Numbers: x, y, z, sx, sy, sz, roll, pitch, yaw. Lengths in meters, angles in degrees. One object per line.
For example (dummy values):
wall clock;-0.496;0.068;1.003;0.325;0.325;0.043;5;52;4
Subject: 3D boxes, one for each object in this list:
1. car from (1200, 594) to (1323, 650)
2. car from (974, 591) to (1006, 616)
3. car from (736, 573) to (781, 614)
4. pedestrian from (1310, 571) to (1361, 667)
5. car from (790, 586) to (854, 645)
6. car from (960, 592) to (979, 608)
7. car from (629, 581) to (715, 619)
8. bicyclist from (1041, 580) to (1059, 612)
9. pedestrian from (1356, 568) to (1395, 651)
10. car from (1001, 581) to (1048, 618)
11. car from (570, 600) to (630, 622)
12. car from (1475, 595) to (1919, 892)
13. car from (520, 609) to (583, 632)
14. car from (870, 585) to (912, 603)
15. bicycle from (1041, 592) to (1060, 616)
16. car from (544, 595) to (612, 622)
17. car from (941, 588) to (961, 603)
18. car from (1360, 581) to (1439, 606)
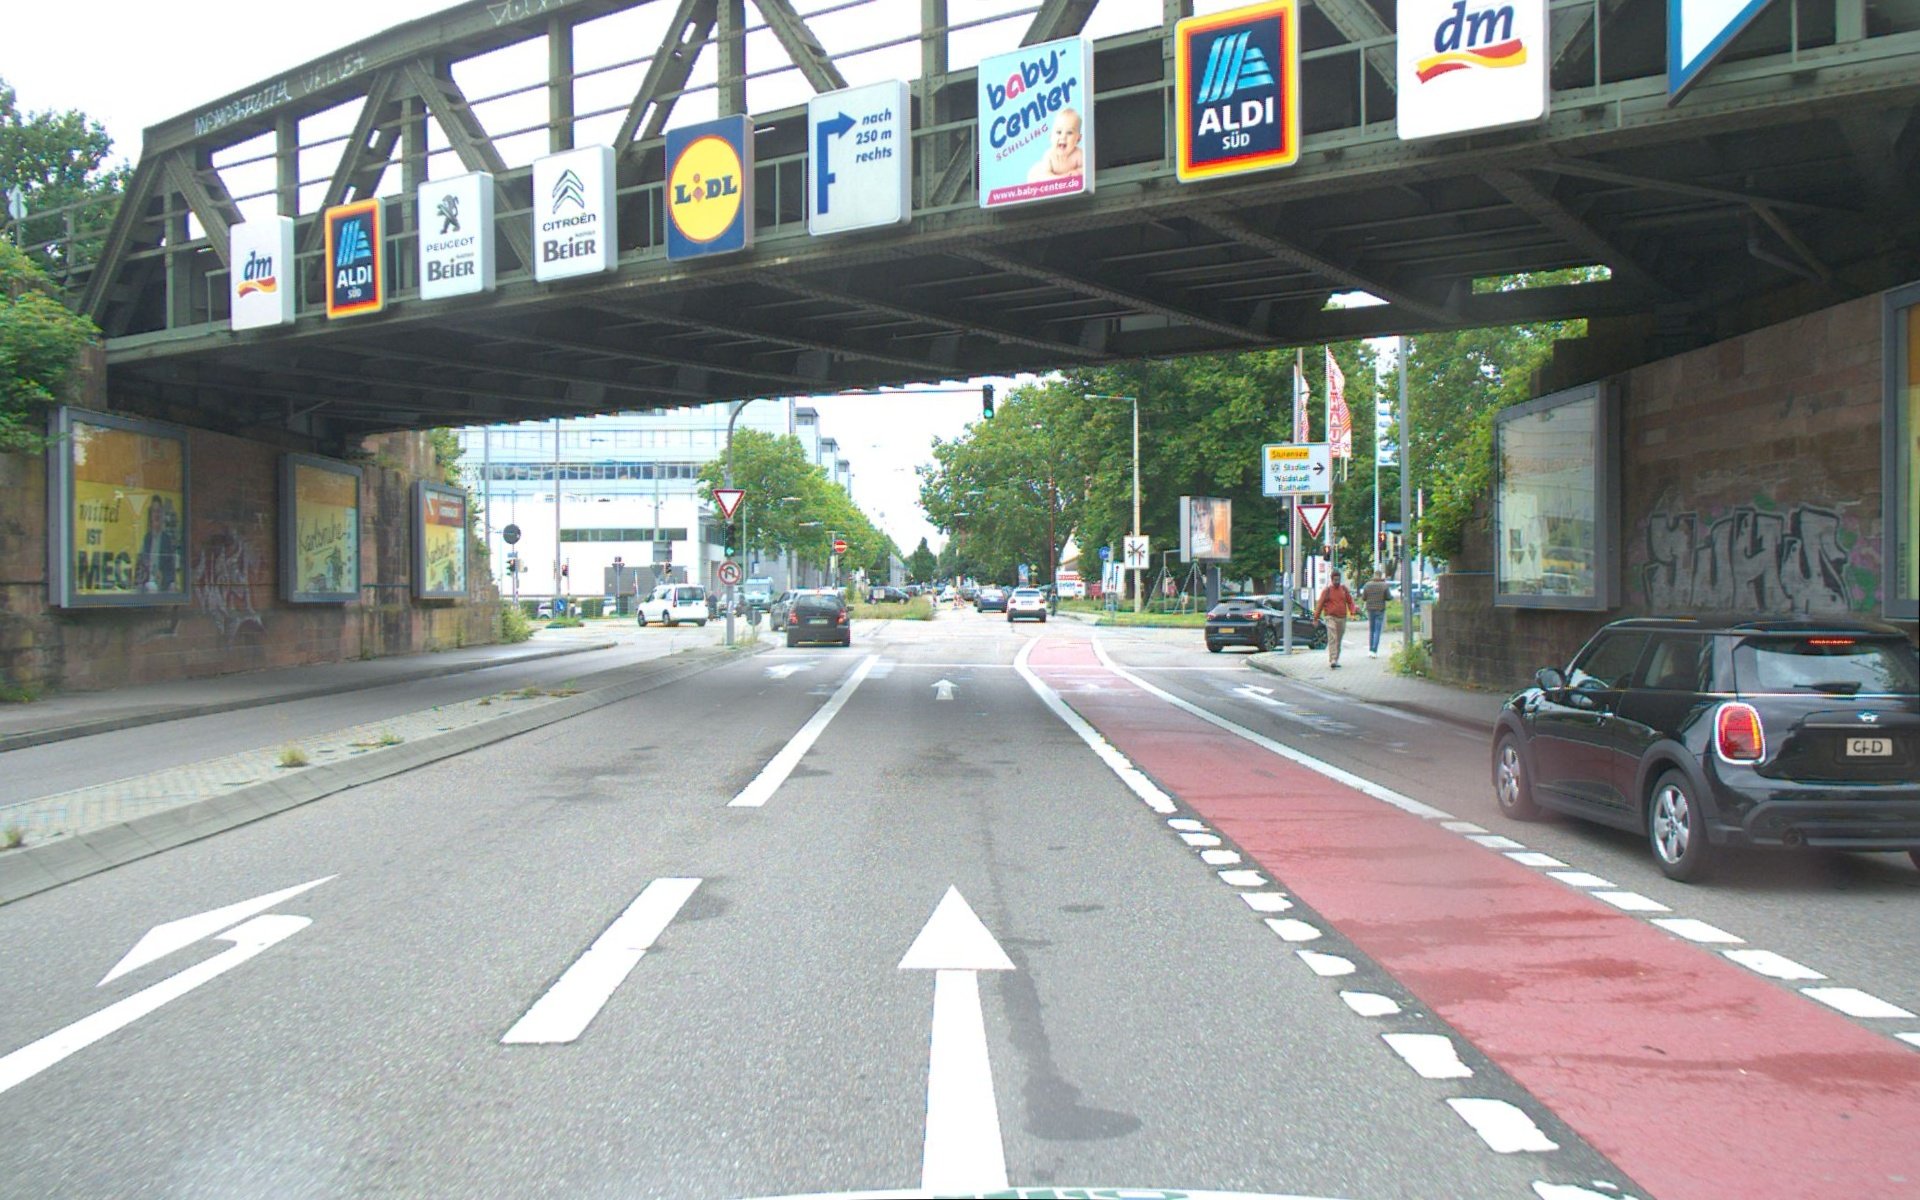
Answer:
car;7.582;0.518;41.474;1.621;1.303;3.403;1;1;39
car;1.877;0.207;103.865;1.651;1.540;3.703;1;1;-4
car;-14.673;-0.470;120.852;2.280;2.875;5.951;-1;0;2
pedestrian;7.171;0.356;31.638;0.853;1.790;0.788;0;0;6
car;-3.881;0.408;46.783;1.734;1.554;3.666;1;1;-4
car;0.981;-0.009;179.641;1.839;1.661;3.998;-1;1;-3
car;-12.735;-0.028;72.862;1.944;1.554;4.953;0;1;-33
bicyclist;4.796;-0.226;88.137;0.800;1.658;1.235;-1;0;-1
pedestrian;8.455;0.190;33.628;0.726;1.668;0.779;0;0;16
car;2.951;-0.049;76.392;1.787;1.628;3.773;1;1;-4
car;-29.115;0.883;133.843;4.437;1.662;1.911;-1;0;-4
car;4.676;0.730;10.305;1.645;1.456;3.773;1;1;-2
car;-29.873;1.504;120.999;4.125;1.559;1.913;-1;0;0
car;-6.273;-0.515;150.634;3.805;1.583;1.825;1;0;-2
bicycle;4.807;0.219;88.141;0.800;1.234;2.682;-1;0;-1
car;-23.176;0.489;100.437;3.580;1.554;1.775;-1;0;17
car;-0.933;-0.466;170.149;1.760;1.540;3.703;1;1;-4
car;28.858;-0.412;108.732;4.581;1.523;2.169;1;0;-3
